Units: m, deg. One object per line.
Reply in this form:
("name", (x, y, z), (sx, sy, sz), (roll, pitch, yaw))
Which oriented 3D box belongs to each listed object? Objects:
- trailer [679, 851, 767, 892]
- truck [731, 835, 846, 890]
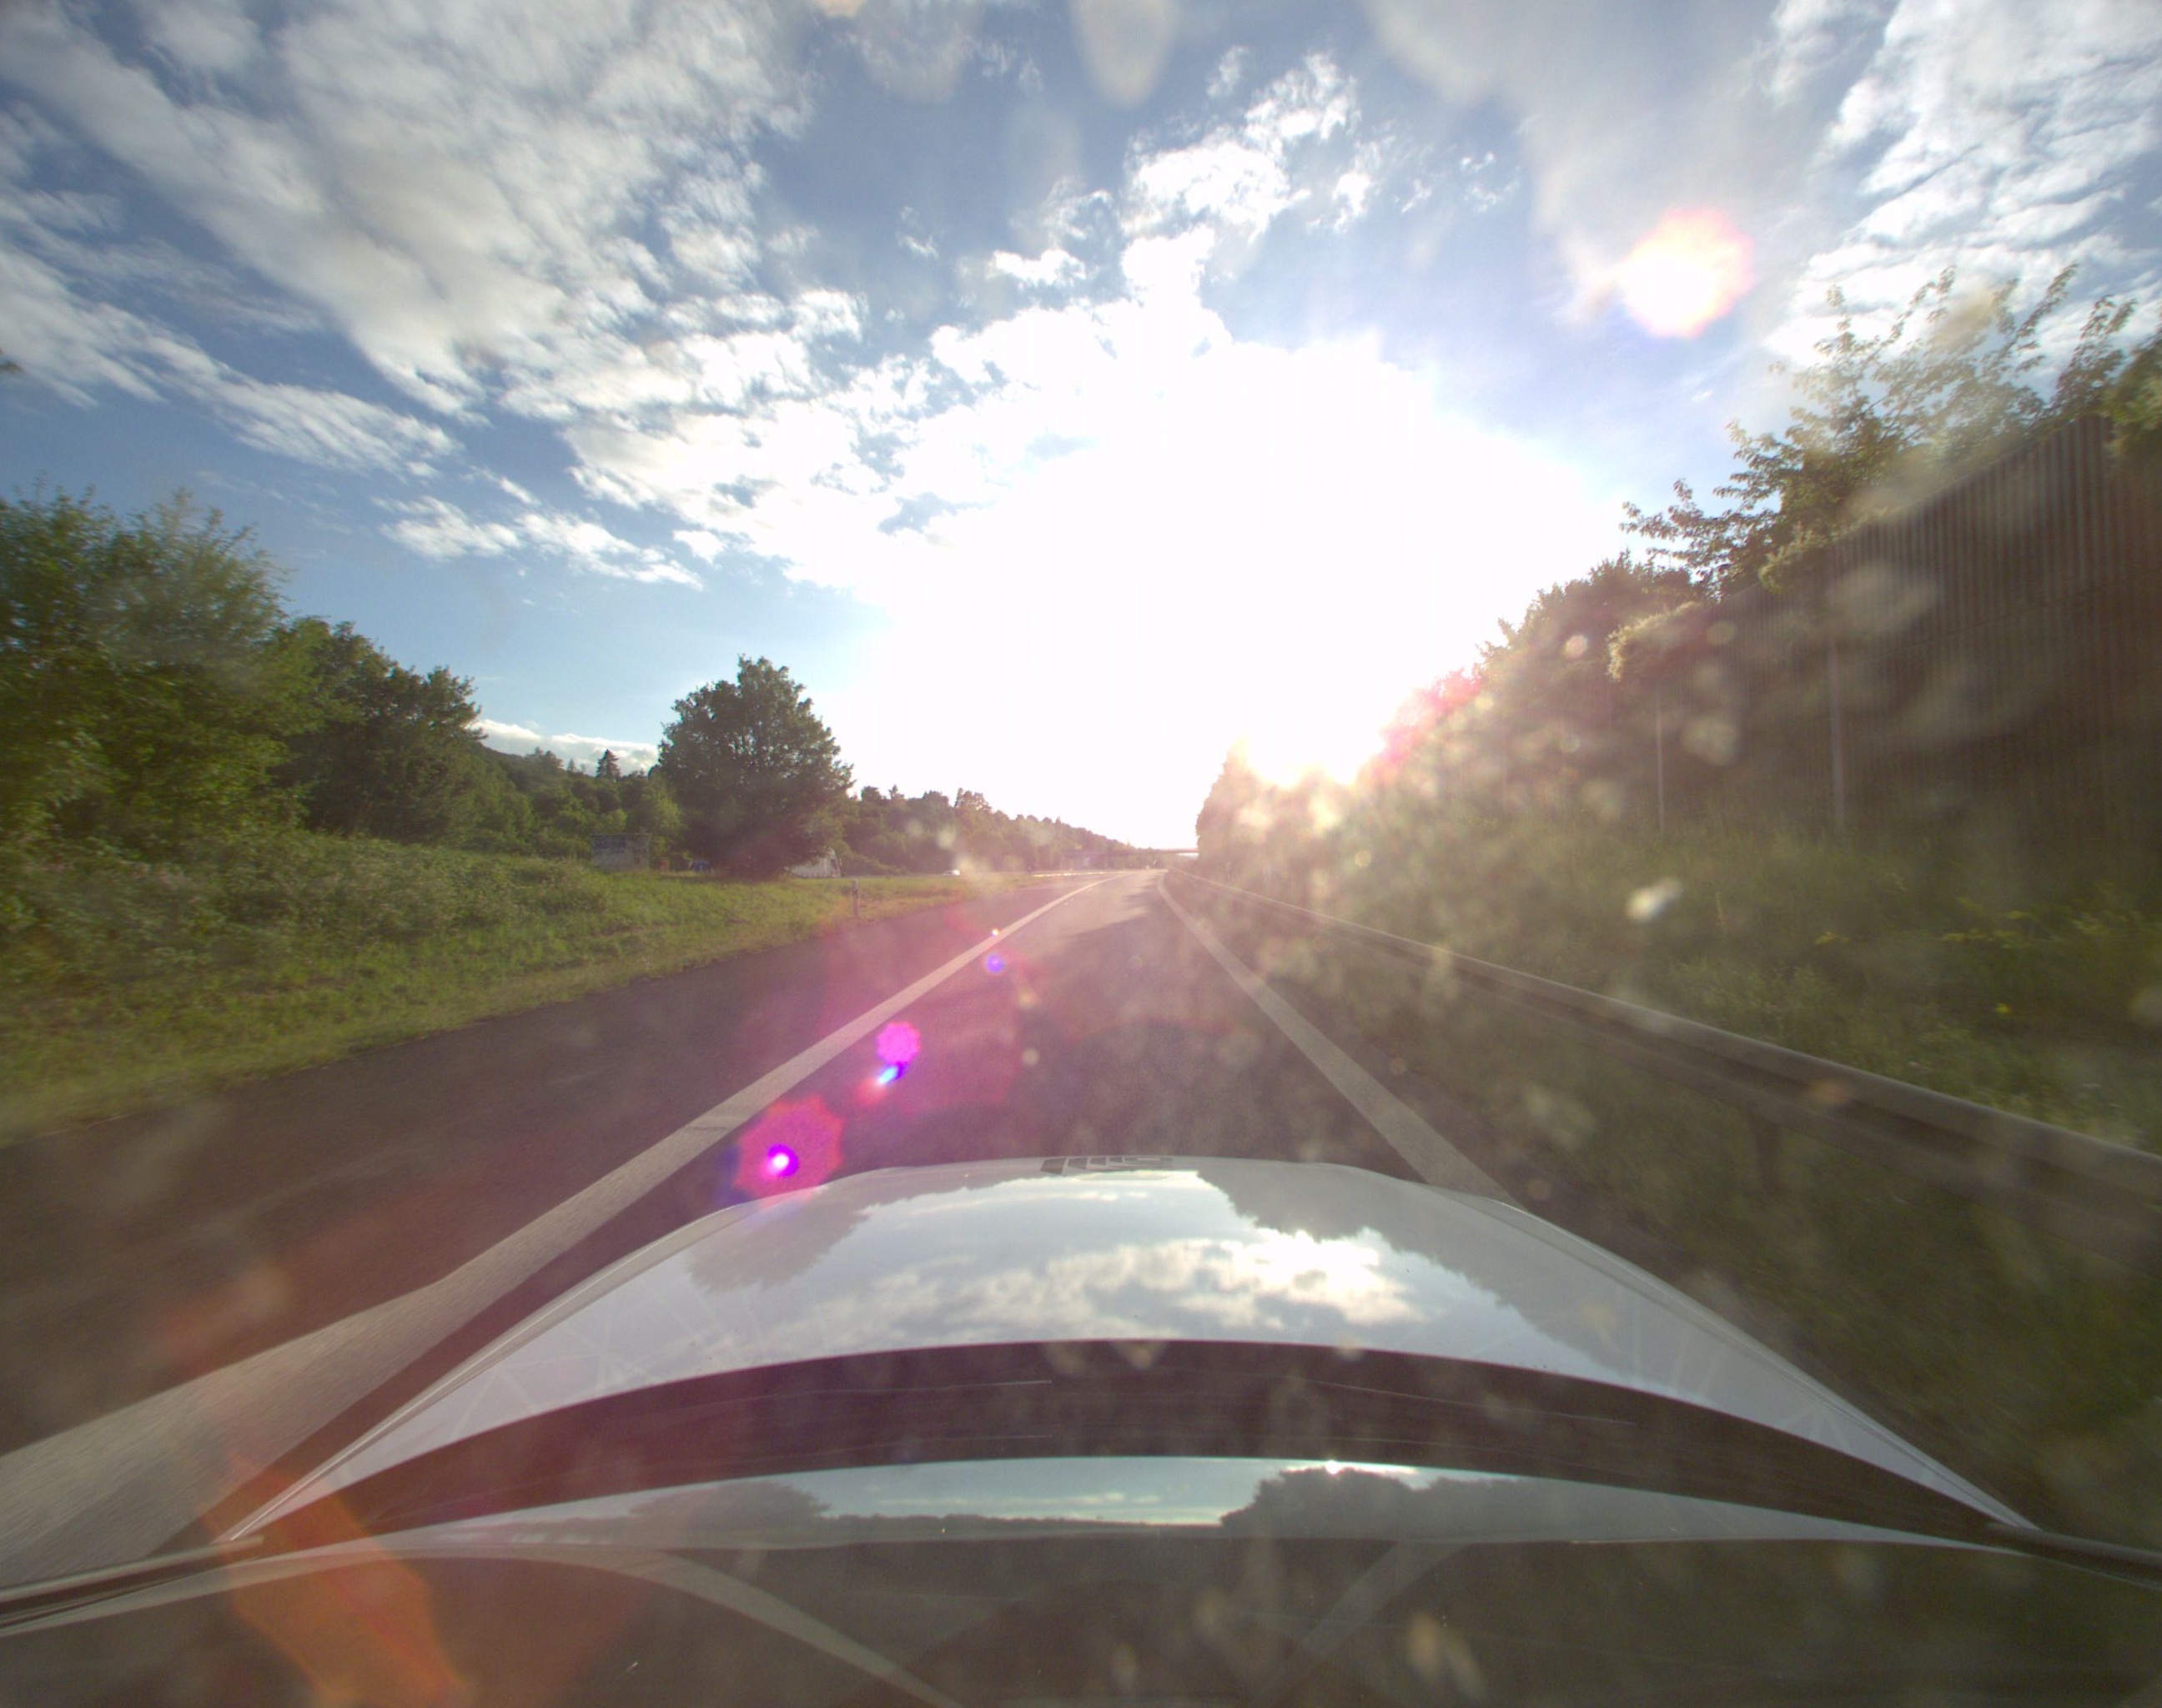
("trailer", (-23.896, 1.163, 54.625), (2.898, 2.578, 4.836), (-2, -1, 16))
("truck", (-21.828, 0.636, 61.612), (2.898, 3.789, 9.706), (-2, -1, 17))
